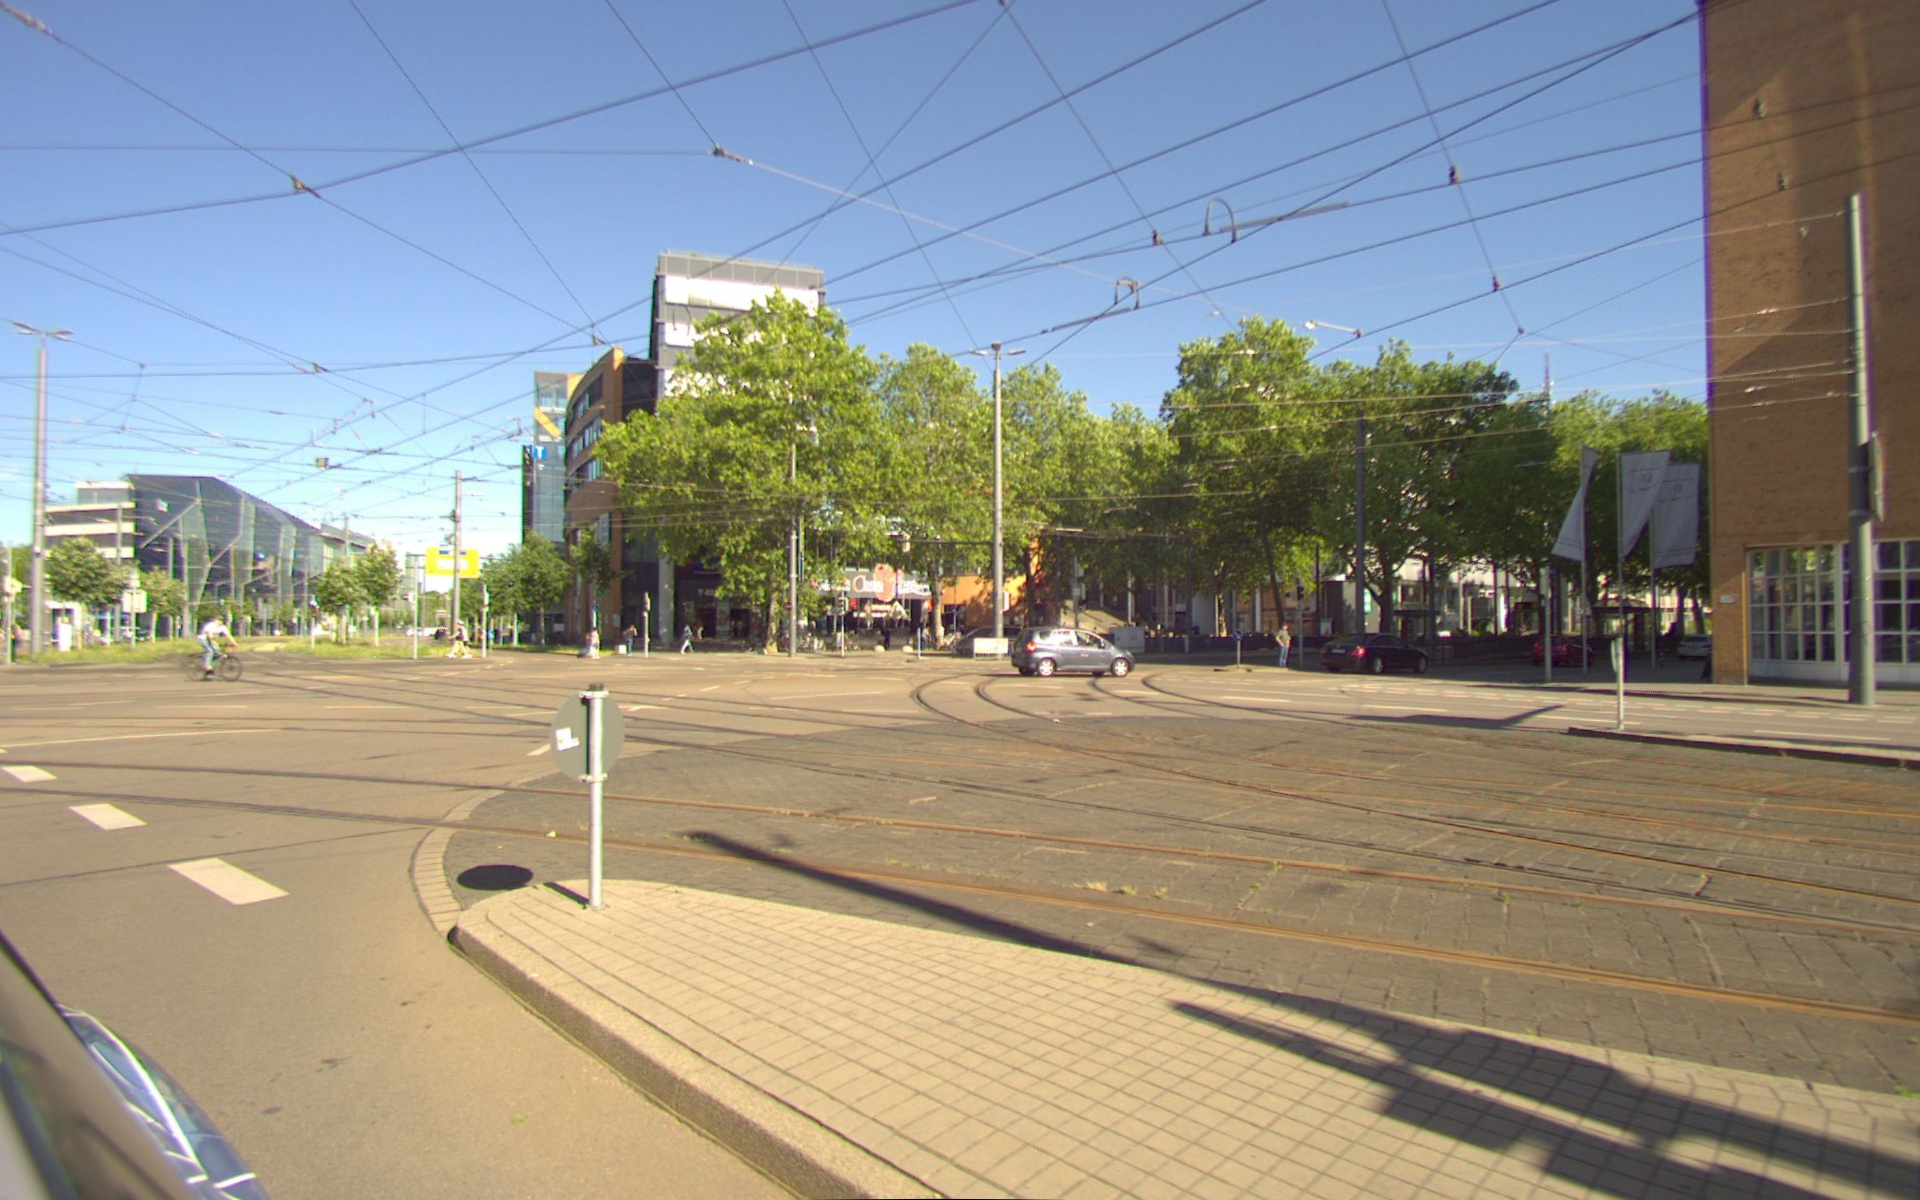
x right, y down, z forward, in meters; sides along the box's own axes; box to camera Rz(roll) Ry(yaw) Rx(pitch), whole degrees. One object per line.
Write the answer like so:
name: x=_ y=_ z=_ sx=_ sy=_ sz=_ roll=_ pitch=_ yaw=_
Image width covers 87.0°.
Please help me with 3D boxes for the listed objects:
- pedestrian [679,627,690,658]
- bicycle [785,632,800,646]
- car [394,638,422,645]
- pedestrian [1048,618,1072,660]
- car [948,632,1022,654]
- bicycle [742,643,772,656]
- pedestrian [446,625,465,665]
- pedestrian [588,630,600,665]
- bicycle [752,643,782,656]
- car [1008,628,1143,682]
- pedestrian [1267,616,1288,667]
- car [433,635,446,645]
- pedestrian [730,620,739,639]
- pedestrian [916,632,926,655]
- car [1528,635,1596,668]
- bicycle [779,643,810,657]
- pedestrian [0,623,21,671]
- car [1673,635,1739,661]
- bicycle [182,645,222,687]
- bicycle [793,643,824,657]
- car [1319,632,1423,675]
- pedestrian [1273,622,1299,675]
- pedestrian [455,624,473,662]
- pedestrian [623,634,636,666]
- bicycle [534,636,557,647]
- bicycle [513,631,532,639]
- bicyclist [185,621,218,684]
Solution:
pedestrian: x=-16.421 y=2.542 z=60.423 sx=0.455 sy=1.845 sz=0.459 roll=-1 pitch=-2 yaw=17
bicycle: x=-13.462 y=3.111 z=81.247 sx=0.486 sy=1.143 sz=1.808 roll=1 pitch=-3 yaw=-35
car: x=-88.586 y=6.679 z=162.450 sx=3.930 sy=1.098 sz=2.006 roll=1 pitch=-2 yaw=-25
pedestrian: x=4.694 y=1.814 z=47.441 sx=0.905 sy=1.947 sz=0.693 roll=-2 pitch=-3 yaw=43
car: x=1.495 y=2.540 z=59.677 sx=3.934 sy=1.240 sz=2.005 roll=1 pitch=-3 yaw=-36
bicycle: x=-12.714 y=3.098 z=63.404 sx=2.000 sy=0.805 sz=0.376 roll=2 pitch=-3 yaw=-44
pedestrian: x=-23.680 y=2.097 z=47.526 sx=0.750 sy=1.845 sz=0.626 roll=1 pitch=-3 yaw=-26
pedestrian: x=-19.202 y=2.481 z=53.120 sx=0.461 sy=1.845 sz=0.383 roll=-1 pitch=-3 yaw=24
bicycle: x=-11.939 y=3.071 z=62.667 sx=2.000 sy=0.805 sz=0.376 roll=2 pitch=-3 yaw=-44
car: x=3.457 y=1.629 z=30.497 sx=3.615 sy=1.576 sz=1.737 roll=0 pitch=-2 yaw=-16
pedestrian: x=12.217 y=1.601 z=38.957 sx=0.515 sy=1.947 sz=0.530 roll=1 pitch=-3 yaw=-21
car: x=-75.316 y=5.771 z=146.469 sx=1.408 sy=1.370 sz=3.305 roll=1 pitch=-2 yaw=-32
pedestrian: x=-19.257 y=2.538 z=86.357 sx=0.499 sy=1.636 sz=0.790 roll=1 pitch=-1 yaw=-35
pedestrian: x=-2.553 y=2.863 z=66.565 sx=0.638 sy=1.463 sz=0.502 roll=0 pitch=-2 yaw=-8
car: x=27.705 y=2.333 z=46.530 sx=3.529 sy=1.460 sz=1.661 roll=2 pitch=-3 yaw=-41
bicycle: x=-9.923 y=3.001 z=60.836 sx=2.000 sy=0.805 sz=0.376 roll=2 pitch=-3 yaw=-44
pedestrian: x=-35.716 y=1.747 z=37.956 sx=0.769 sy=1.766 sz=0.662 roll=-2 pitch=-3 yaw=43
car: x=42.659 y=2.726 z=57.860 sx=4.342 sy=1.392 sz=2.070 roll=2 pitch=-3 yaw=-40
bicycle: x=-20.927 y=1.790 z=27.917 sx=0.678 sy=1.078 sz=2.700 roll=-1 pitch=-2 yaw=-41
bicycle: x=-8.985 y=2.963 z=60.077 sx=2.000 sy=0.805 sz=0.376 roll=2 pitch=-3 yaw=-44
car: x=14.872 y=1.902 z=36.540 sx=4.452 sy=1.460 sz=1.734 roll=2 pitch=-3 yaw=-43
pedestrian: x=12.019 y=1.779 z=37.326 sx=0.751 sy=1.947 sz=0.517 roll=-2 pitch=-3 yaw=43
pedestrian: x=-24.197 y=2.106 z=49.362 sx=0.750 sy=1.845 sz=0.626 roll=1 pitch=-3 yaw=-29
pedestrian: x=-18.940 y=2.850 z=57.980 sx=0.493 sy=1.845 sz=0.579 roll=-1 pitch=-2 yaw=17
bicycle: x=-41.922 y=4.203 z=102.354 sx=2.142 sy=1.132 sz=0.756 roll=-1 pitch=-2 yaw=-25
bicycle: x=-52.725 y=4.219 z=121.923 sx=2.142 sy=0.962 sz=0.494 roll=-1 pitch=-2 yaw=-25
bicyclist: x=-20.931 y=1.445 z=27.924 sx=0.610 sy=1.682 sz=1.021 roll=0 pitch=-2 yaw=-42
